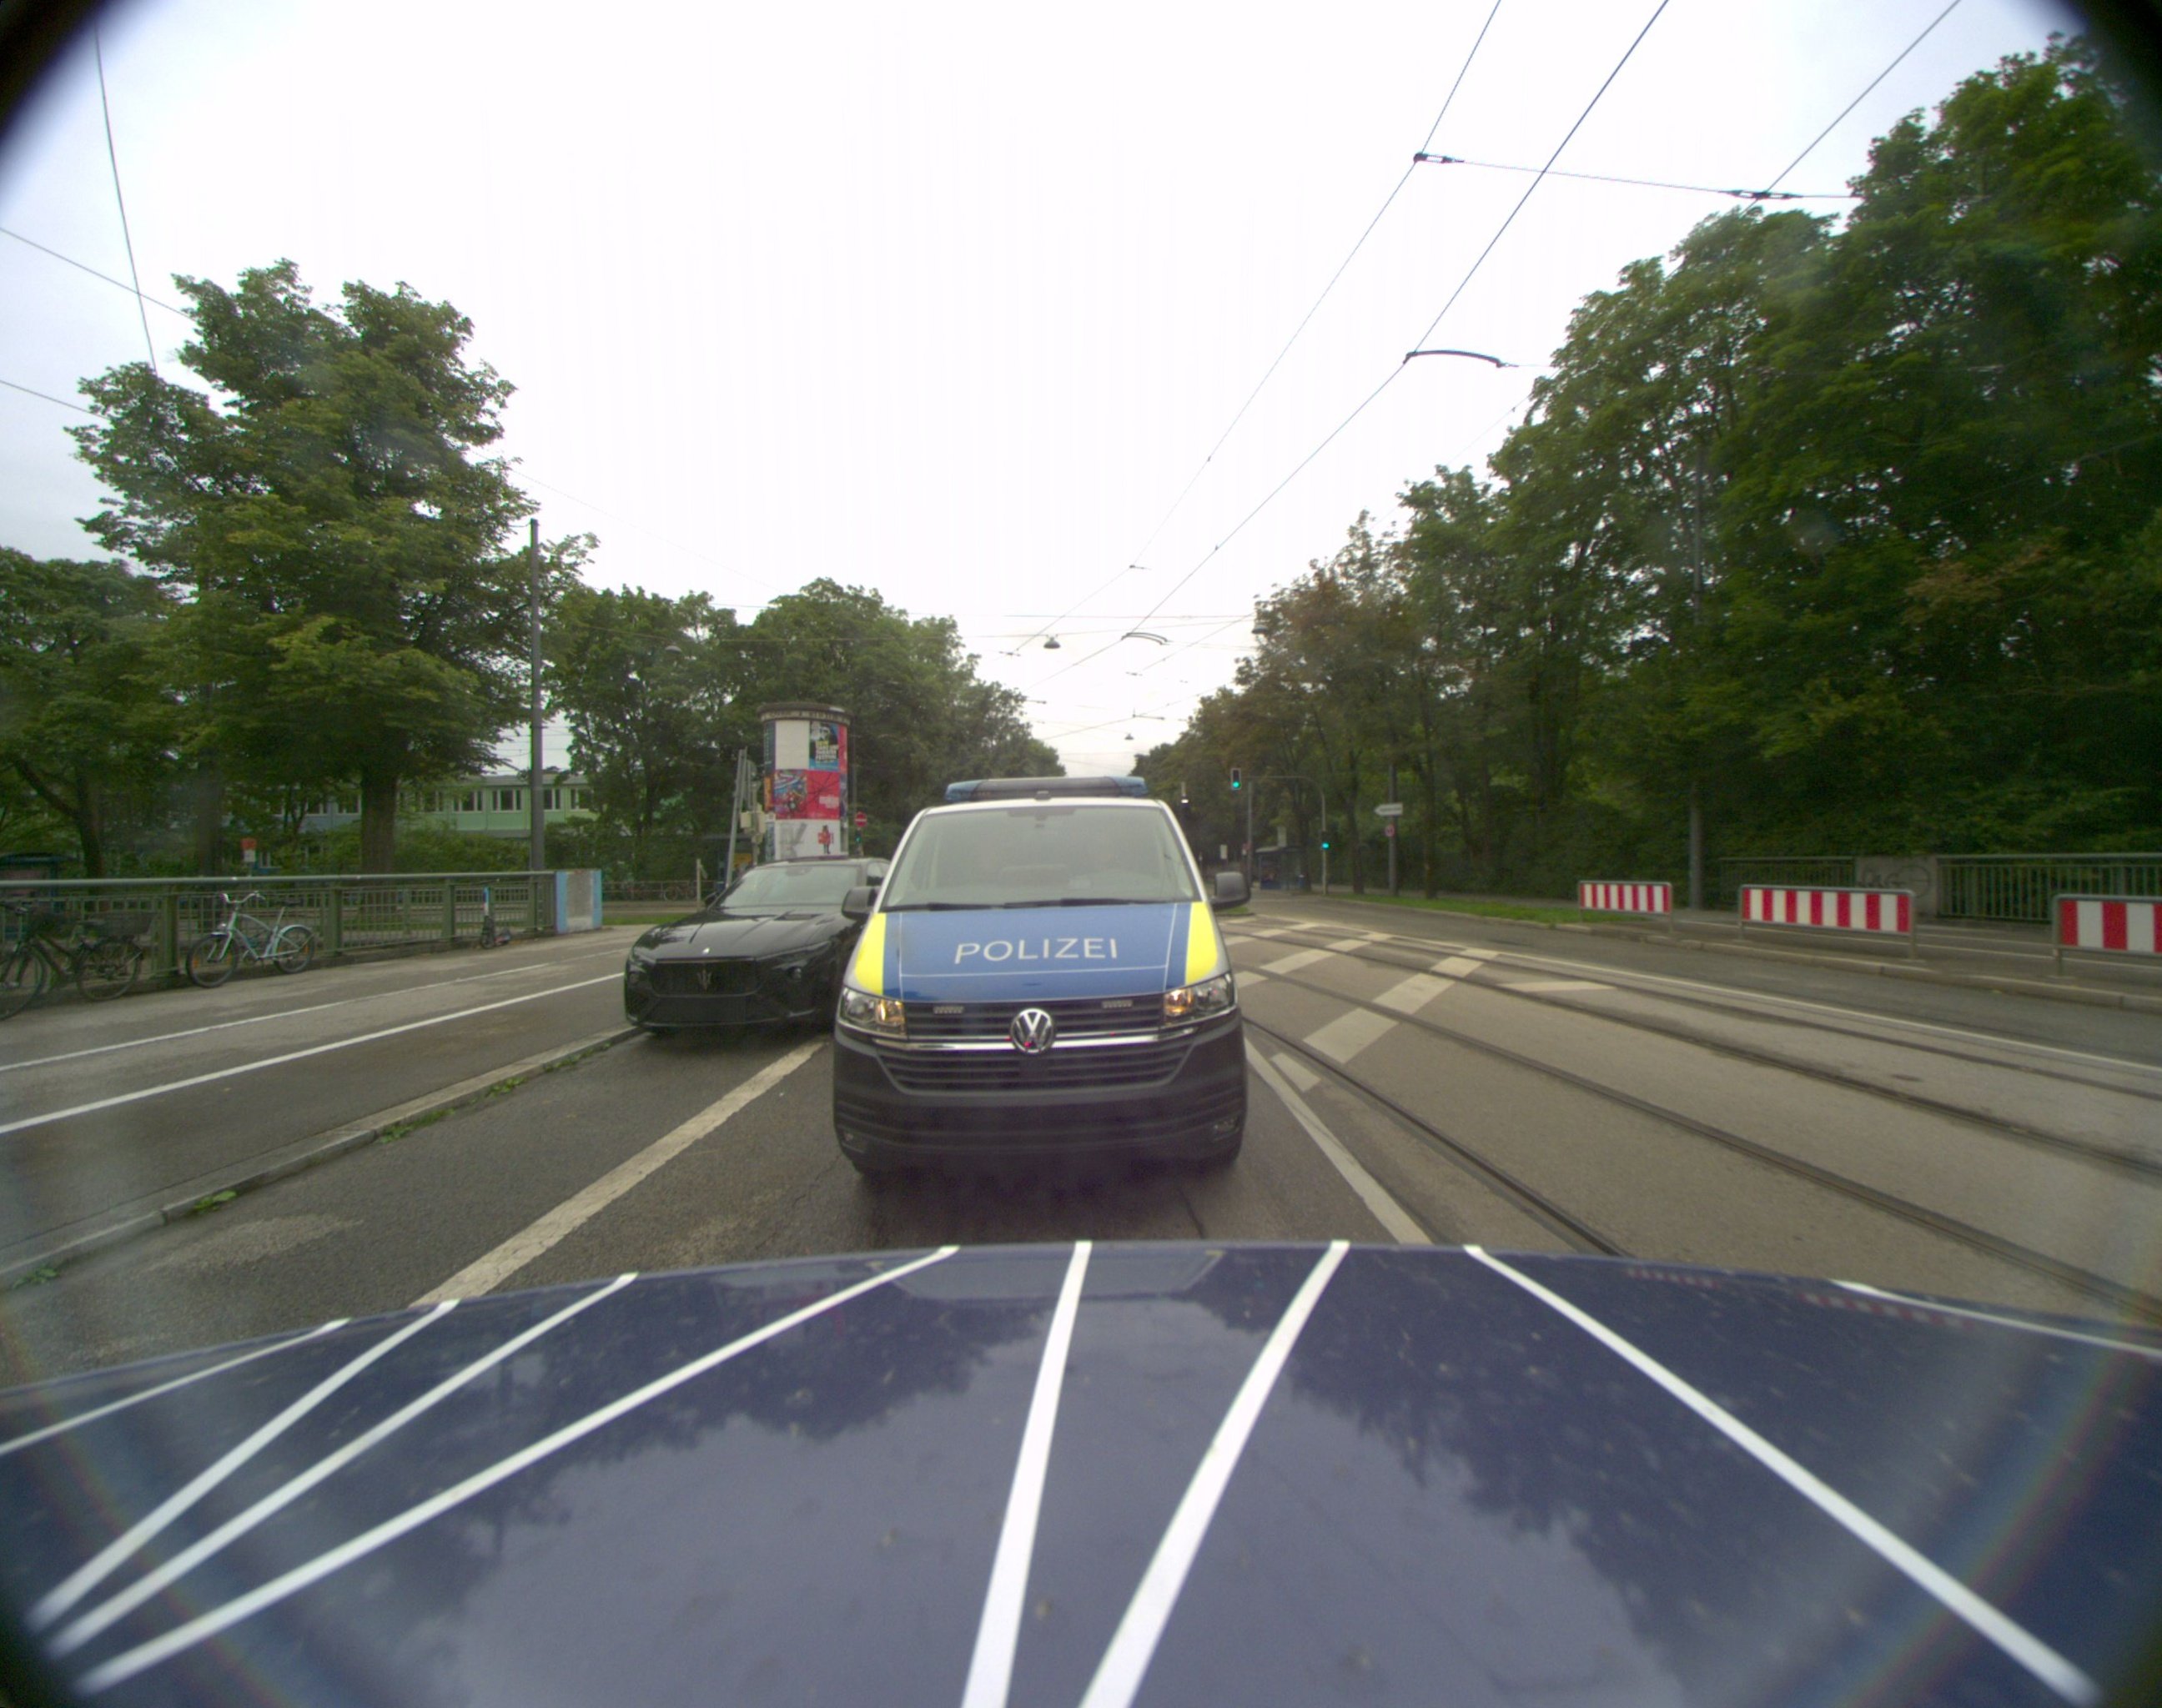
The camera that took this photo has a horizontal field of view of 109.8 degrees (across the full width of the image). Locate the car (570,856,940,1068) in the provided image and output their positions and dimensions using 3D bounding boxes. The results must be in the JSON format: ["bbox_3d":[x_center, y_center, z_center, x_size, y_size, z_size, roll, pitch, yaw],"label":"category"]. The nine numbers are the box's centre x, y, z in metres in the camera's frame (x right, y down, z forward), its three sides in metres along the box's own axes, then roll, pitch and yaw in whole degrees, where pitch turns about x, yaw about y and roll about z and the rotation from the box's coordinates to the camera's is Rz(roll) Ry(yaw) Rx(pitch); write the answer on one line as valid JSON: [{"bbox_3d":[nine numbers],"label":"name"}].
[{"bbox_3d":[-3.018,0.882,8.352,1.905,1.600,4.665,-3,-1,1],"label":"car"}]

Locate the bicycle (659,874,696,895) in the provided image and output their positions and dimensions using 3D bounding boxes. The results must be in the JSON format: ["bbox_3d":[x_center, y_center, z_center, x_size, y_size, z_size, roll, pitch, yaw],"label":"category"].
[{"bbox_3d":[-18.821,1.425,35.454,1.483,0.946,0.373,-1,1,3],"label":"bicycle"}]

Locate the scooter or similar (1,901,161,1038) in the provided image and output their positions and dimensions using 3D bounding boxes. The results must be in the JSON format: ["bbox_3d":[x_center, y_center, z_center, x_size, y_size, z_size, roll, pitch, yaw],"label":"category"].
[{"bbox_3d":[-10.592,1.168,8.108,0.245,1.255,1.493,-3,0,-22],"label":"scooter or similar"}]

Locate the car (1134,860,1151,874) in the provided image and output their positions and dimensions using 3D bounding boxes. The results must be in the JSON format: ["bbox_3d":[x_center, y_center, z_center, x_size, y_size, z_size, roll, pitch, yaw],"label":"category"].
[{"bbox_3d":[8.594,1.797,105.740,1.888,1.716,3.999,-3,0,-1],"label":"car"}]

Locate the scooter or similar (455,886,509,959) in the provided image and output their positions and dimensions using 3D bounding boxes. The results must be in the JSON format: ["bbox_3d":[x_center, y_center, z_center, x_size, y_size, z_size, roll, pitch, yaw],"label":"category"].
[{"bbox_3d":[-10.653,1.199,13.541,0.225,1.205,1.020,-3,1,-8],"label":"scooter or similar"}]

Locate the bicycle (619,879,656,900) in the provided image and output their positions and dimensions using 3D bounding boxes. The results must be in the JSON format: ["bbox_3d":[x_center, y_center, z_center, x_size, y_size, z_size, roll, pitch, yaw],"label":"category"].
[{"bbox_3d":[-20.833,1.674,35.696,1.483,0.946,0.373,-1,1,3],"label":"bicycle"}]

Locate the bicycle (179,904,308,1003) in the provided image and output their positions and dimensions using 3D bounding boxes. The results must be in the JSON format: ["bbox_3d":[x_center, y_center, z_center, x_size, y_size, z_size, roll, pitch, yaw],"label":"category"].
[{"bbox_3d":[-10.746,1.232,9.810,0.265,1.076,1.540,-3,0,-14],"label":"bicycle"}]

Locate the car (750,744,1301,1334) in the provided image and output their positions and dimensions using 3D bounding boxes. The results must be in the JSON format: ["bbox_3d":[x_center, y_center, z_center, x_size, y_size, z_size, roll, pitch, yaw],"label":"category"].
[{"bbox_3d":[-0.230,0.640,5.515,1.903,2.041,5.708,-1,0,-1],"label":"car"}]

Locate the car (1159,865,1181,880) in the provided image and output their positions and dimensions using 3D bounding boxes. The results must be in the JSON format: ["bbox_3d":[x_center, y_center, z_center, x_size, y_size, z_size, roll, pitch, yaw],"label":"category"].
[{"bbox_3d":[9.971,2.072,85.557,1.888,1.531,3.999,-3,0,-1],"label":"car"}]

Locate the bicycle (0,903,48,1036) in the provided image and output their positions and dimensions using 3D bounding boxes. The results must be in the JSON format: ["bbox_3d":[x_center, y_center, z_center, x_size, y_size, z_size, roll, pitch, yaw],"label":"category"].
[{"bbox_3d":[-10.597,1.136,7.115,0.283,1.274,1.408,-3,0,-19],"label":"bicycle"}]

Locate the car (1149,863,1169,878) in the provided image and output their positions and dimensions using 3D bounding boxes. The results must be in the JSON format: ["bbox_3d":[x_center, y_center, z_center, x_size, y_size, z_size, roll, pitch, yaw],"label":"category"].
[{"bbox_3d":[9.331,1.956,91.078,1.888,1.716,3.999,-3,0,-1],"label":"car"}]
